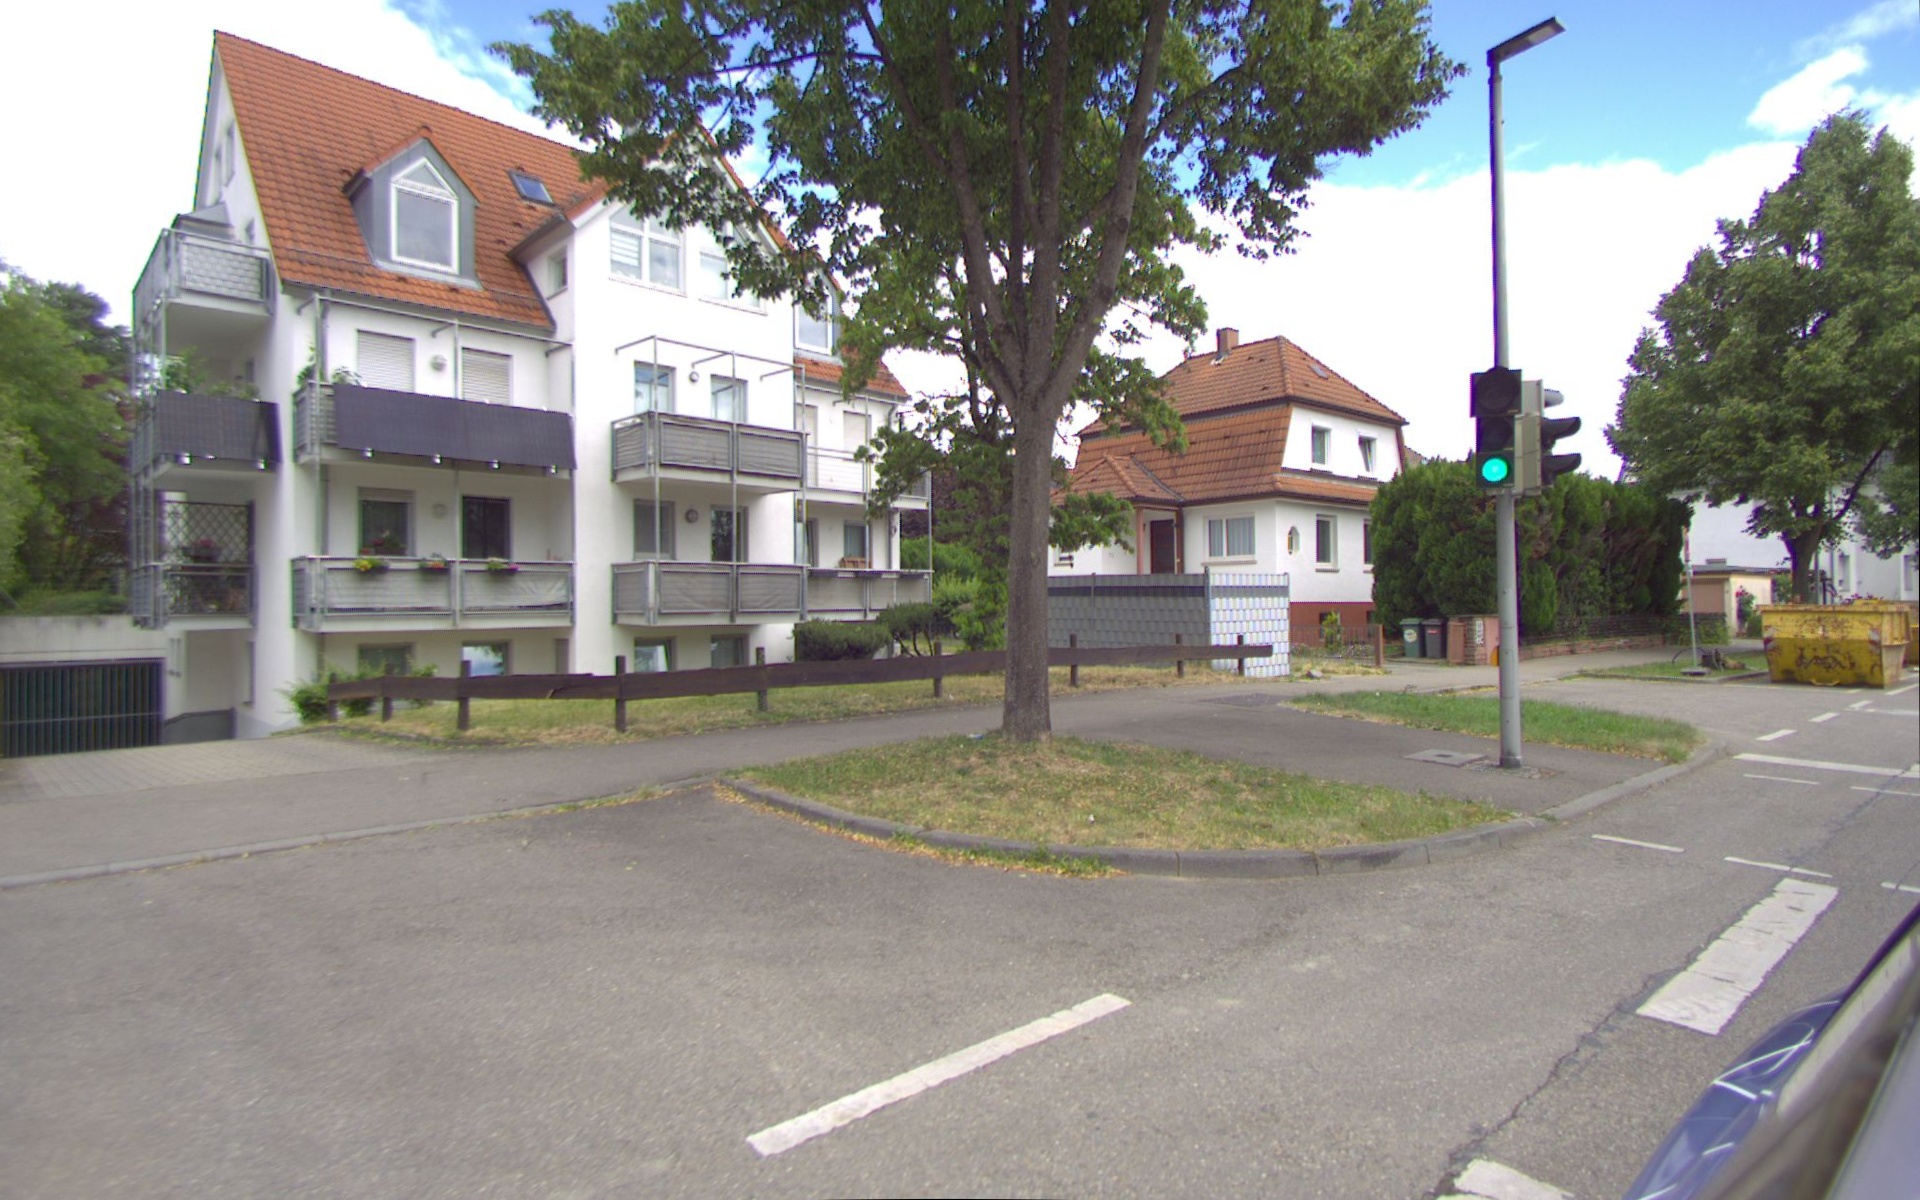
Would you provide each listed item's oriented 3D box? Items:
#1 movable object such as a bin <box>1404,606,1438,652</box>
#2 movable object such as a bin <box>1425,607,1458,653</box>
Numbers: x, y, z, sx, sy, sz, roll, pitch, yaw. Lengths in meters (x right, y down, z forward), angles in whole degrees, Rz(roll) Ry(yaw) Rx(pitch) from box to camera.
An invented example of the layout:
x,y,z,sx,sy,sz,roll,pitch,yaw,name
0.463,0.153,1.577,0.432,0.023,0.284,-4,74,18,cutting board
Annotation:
x,y,z,sx,sy,sz,roll,pitch,yaw,name
10.924,0.683,23.971,0.508,1.072,0.542,0,0,-27,movable object such as a bin
11.171,0.689,23.489,0.508,1.058,0.501,0,0,-28,movable object such as a bin
